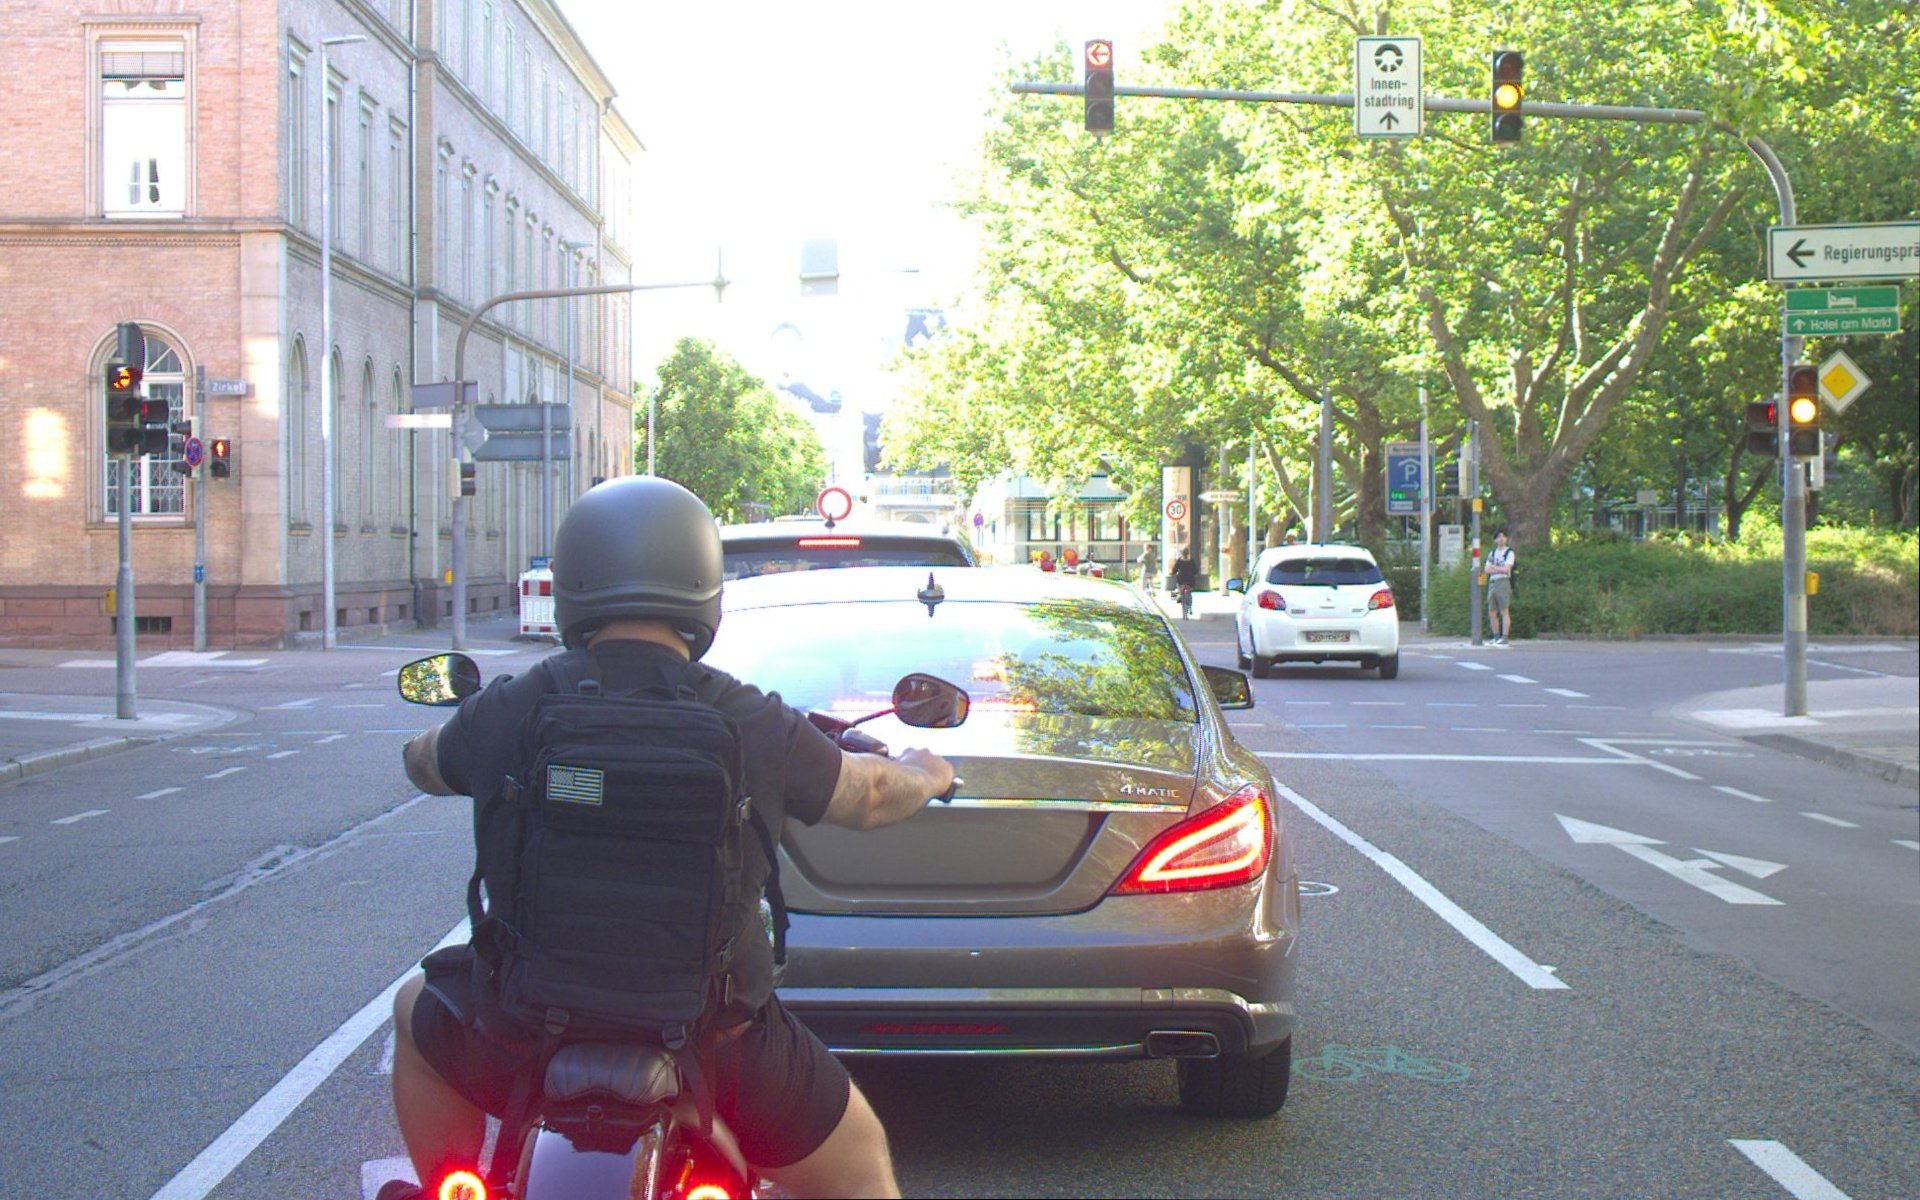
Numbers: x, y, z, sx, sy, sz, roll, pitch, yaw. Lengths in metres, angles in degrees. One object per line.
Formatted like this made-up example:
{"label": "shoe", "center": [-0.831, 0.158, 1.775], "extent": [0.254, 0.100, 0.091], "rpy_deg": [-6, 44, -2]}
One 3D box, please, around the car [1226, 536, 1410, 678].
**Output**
{"label": "car", "center": [4.036, 0.057, 39.197], "extent": [1.679, 1.493, 3.685], "rpy_deg": [2, 1, 0]}

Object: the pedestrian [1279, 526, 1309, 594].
{"label": "pedestrian", "center": [7.751, -0.927, 79.860], "extent": [0.592, 1.573, 0.527], "rpy_deg": [2, 0, 0]}

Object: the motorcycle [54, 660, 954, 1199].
{"label": "motorcycle", "center": [-0.532, 0.790, 5.222], "extent": [1.012, 1.302, 2.673], "rpy_deg": [0, 1, -1]}

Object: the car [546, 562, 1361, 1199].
{"label": "car", "center": [-0.041, 0.624, 9.678], "extent": [1.828, 1.415, 3.815], "rpy_deg": [1, 1, -1]}

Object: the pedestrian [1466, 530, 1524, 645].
{"label": "pedestrian", "center": [8.276, -0.194, 53.199], "extent": [0.570, 1.768, 0.625], "rpy_deg": [1, 0, -35]}

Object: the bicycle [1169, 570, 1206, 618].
{"label": "bicycle", "center": [5.202, -0.134, 78.782], "extent": [0.656, 1.066, 1.927], "rpy_deg": [2, 1, -1]}

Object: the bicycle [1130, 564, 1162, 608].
{"label": "bicycle", "center": [4.827, -0.360, 89.232], "extent": [0.656, 1.107, 2.186], "rpy_deg": [2, 1, -1]}

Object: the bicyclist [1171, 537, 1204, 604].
{"label": "bicyclist", "center": [5.216, -0.676, 78.800], "extent": [0.656, 1.525, 0.852], "rpy_deg": [2, 0, -1]}

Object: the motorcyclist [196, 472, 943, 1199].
{"label": "motorcyclist", "center": [-0.539, 0.612, 5.381], "extent": [1.012, 1.596, 1.406], "rpy_deg": [0, 1, -1]}

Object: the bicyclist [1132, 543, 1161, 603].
{"label": "bicyclist", "center": [4.835, -0.709, 89.201], "extent": [0.656, 1.525, 0.906], "rpy_deg": [2, 0, -1]}

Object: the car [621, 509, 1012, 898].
{"label": "car", "center": [-0.804, 0.428, 16.779], "extent": [1.630, 1.645, 3.851], "rpy_deg": [2, 1, -6]}
